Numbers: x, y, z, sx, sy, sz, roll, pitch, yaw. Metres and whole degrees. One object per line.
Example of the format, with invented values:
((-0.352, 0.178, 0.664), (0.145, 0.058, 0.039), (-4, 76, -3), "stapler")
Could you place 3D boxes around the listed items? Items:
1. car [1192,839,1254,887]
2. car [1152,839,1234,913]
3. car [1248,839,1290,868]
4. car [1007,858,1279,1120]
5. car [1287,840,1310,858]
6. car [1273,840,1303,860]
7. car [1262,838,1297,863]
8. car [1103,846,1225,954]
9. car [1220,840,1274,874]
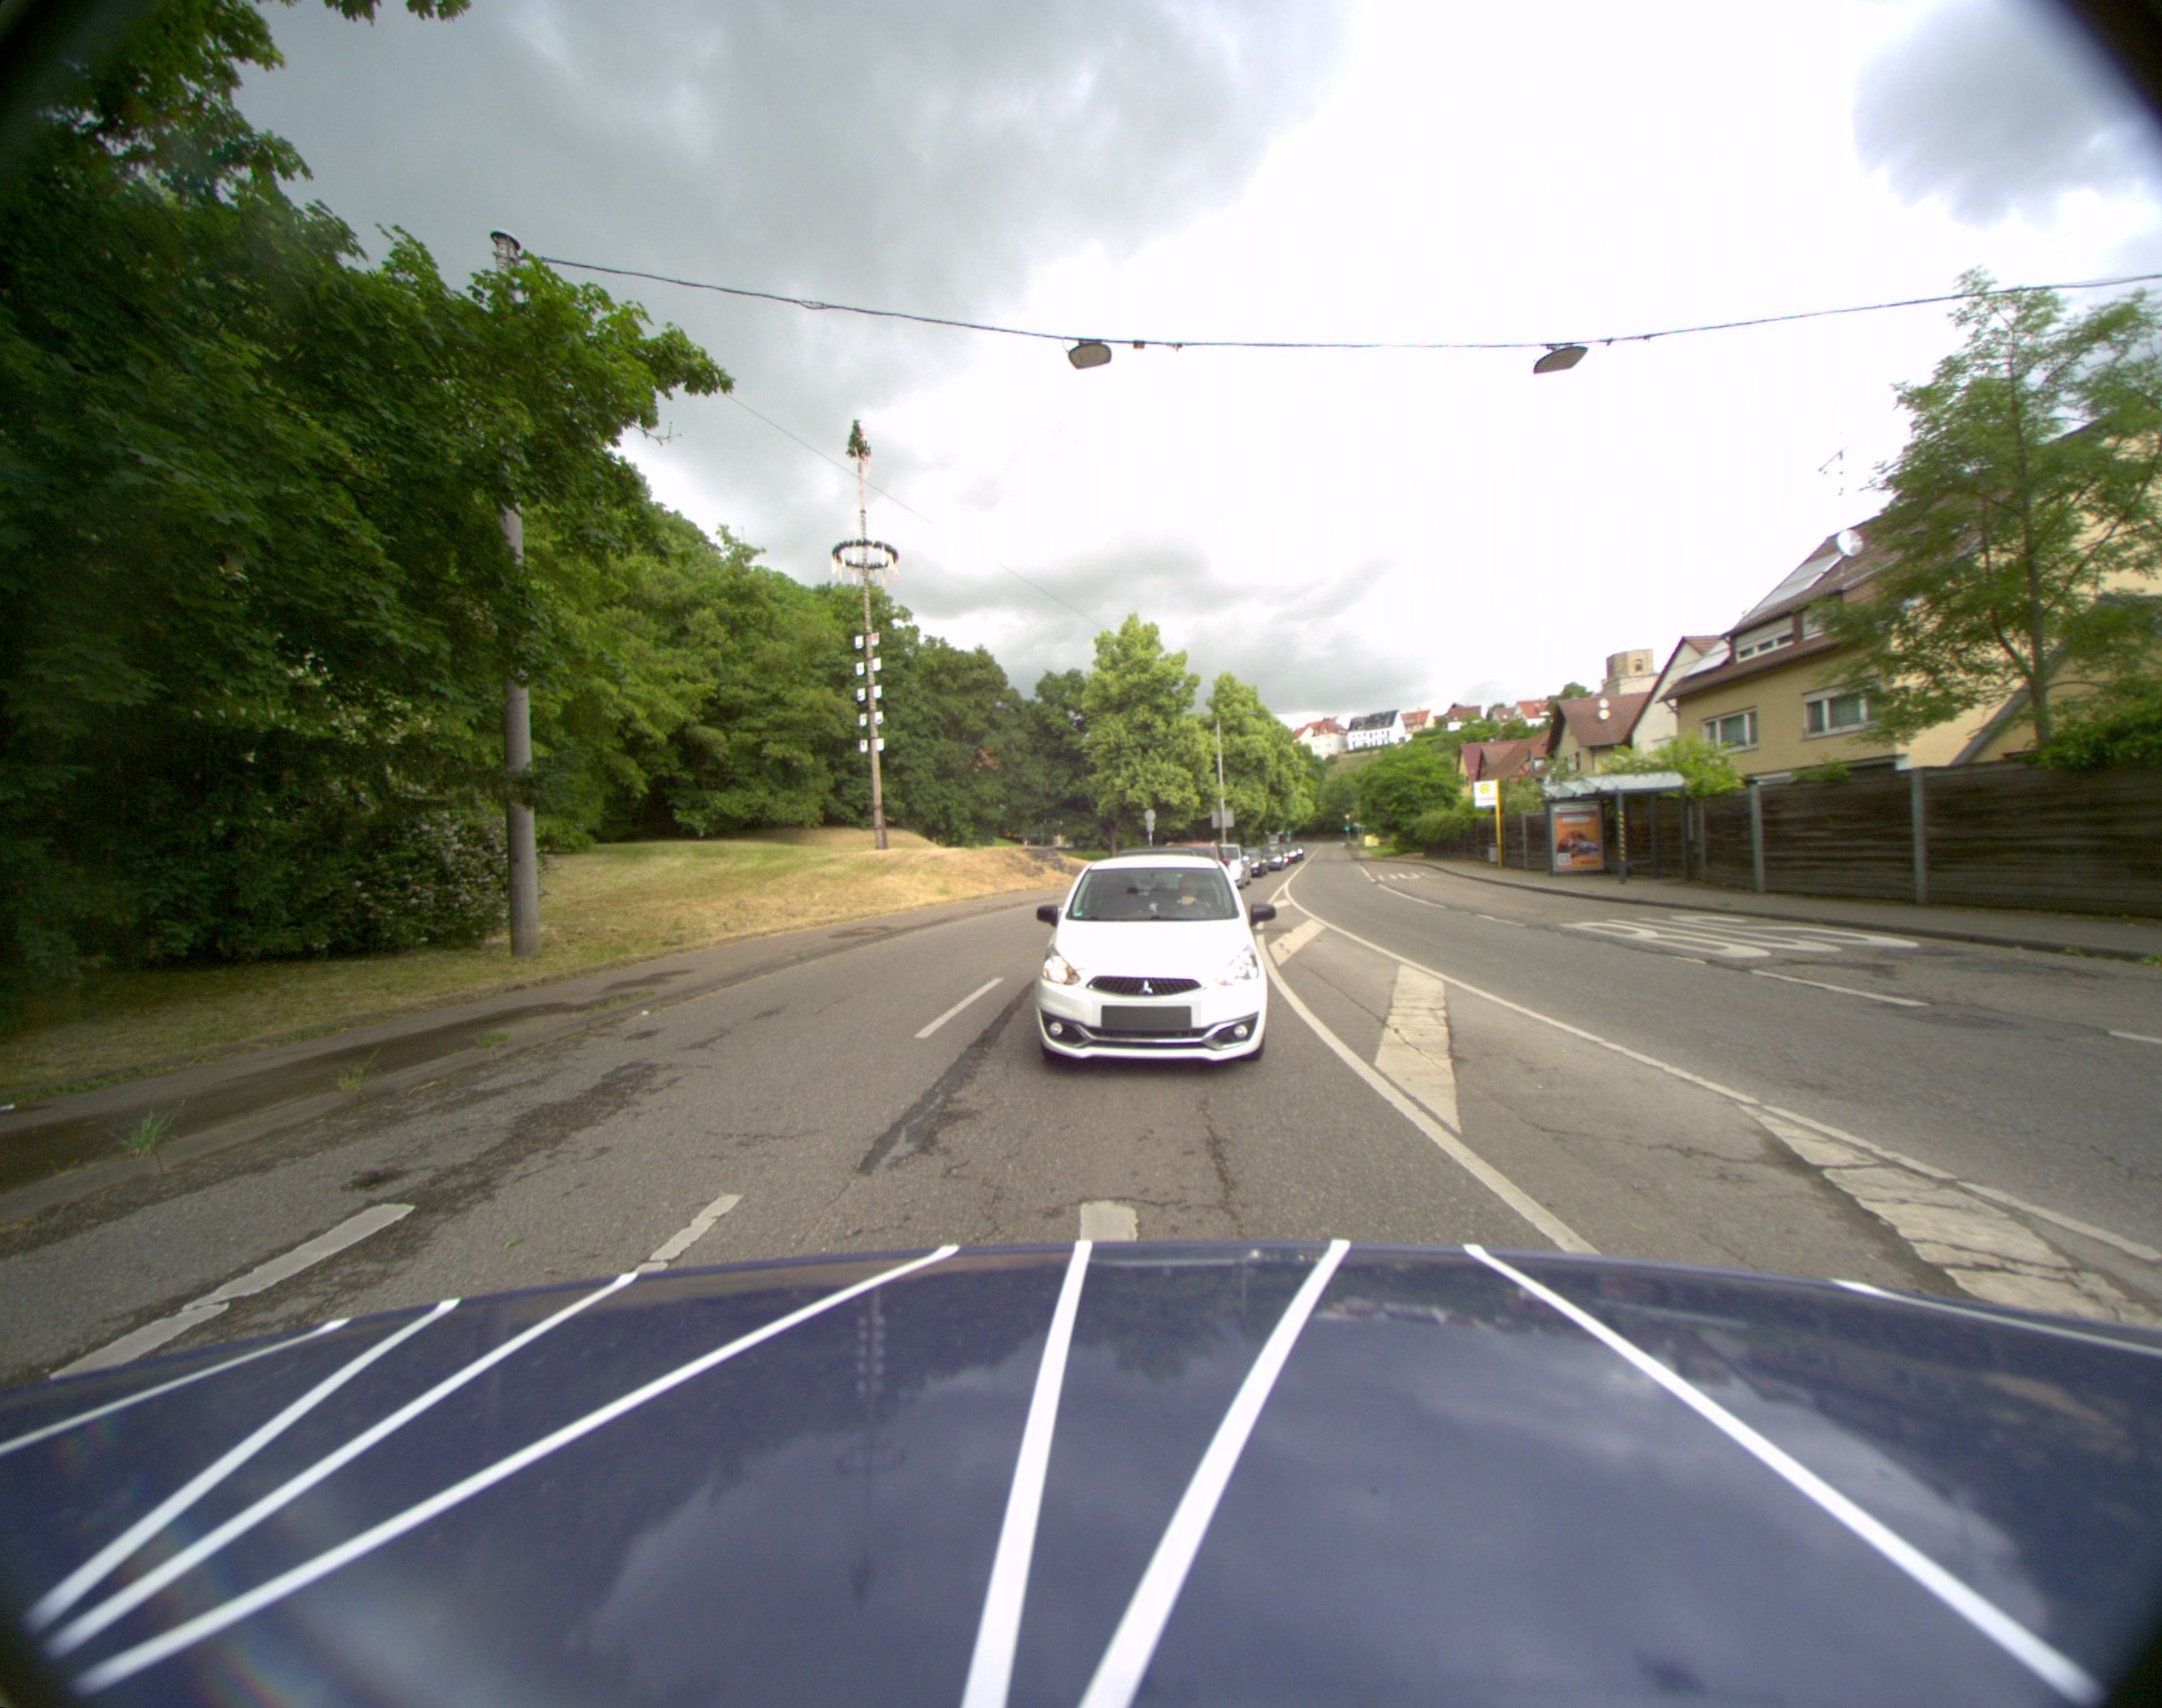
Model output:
((5.201, 0.265, 27.435), (1.781, 1.560, 4.004), (-2, 1, 16), "car")
((2.985, 0.482, 19.556), (1.673, 1.632, 4.104), (-2, 1, 13), "car")
((10.407, -0.054, 41.836), (1.694, 1.403, 3.987), (-2, 1, 21), "car")
((0.609, 0.863, 6.695), (1.627, 1.499, 4.001), (-2, 1, 7), "car")
((17.101, -0.413, 59.556), (1.417, 1.242, 3.300), (-2, 1, 21), "car")
((14.635, -0.280, 53.509), (1.642, 1.262, 3.630), (-2, 1, 21), "car")
((12.565, -0.220, 48.040), (1.704, 1.438, 3.872), (-2, 1, 21), "car")
((1.487, 0.664, 13.103), (1.729, 1.512, 4.002), (-2, 1, 8), "car")
((7.860, 0.106, 35.776), (1.851, 1.449, 4.005), (-2, 1, 21), "car")
